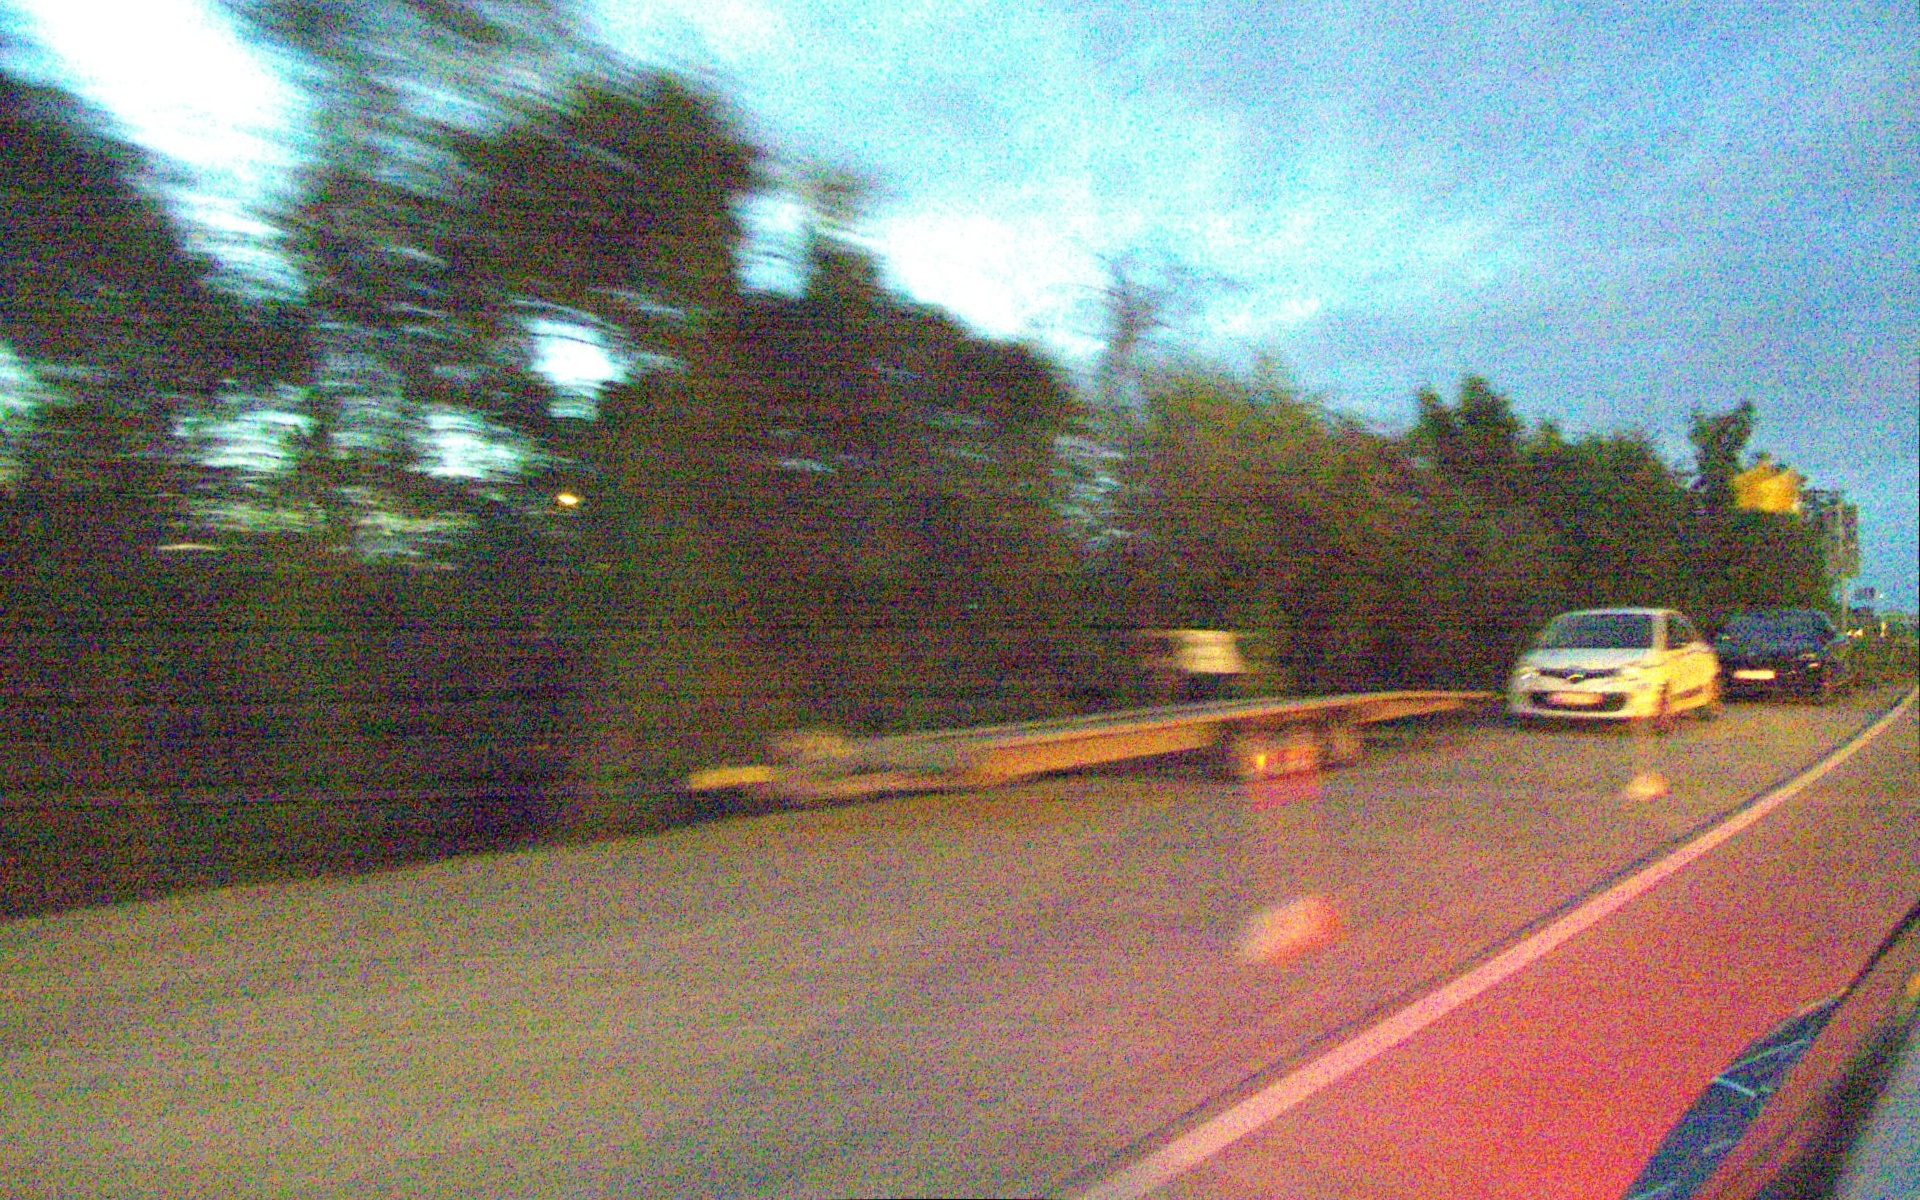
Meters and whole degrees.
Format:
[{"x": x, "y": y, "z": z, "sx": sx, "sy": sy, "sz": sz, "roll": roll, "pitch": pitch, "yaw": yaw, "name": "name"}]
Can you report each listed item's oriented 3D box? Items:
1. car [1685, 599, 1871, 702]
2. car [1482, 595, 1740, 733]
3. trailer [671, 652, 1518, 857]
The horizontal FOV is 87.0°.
[{"x": 14.377, "y": 0.843, "z": 17.705, "sx": 4.254, "sy": 1.572, "sz": 1.994, "roll": 1, "pitch": -3, "yaw": -44, "name": "car"}, {"x": 8.817, "y": 0.780, "z": 13.599, "sx": 3.931, "sy": 1.572, "sz": 1.936, "roll": 1, "pitch": -2, "yaw": -42, "name": "car"}, {"x": 2.165, "y": 1.111, "z": 9.749, "sx": 9.441, "sy": 0.979, "sz": 2.178, "roll": 1, "pitch": -3, "yaw": -39, "name": "trailer"}]
